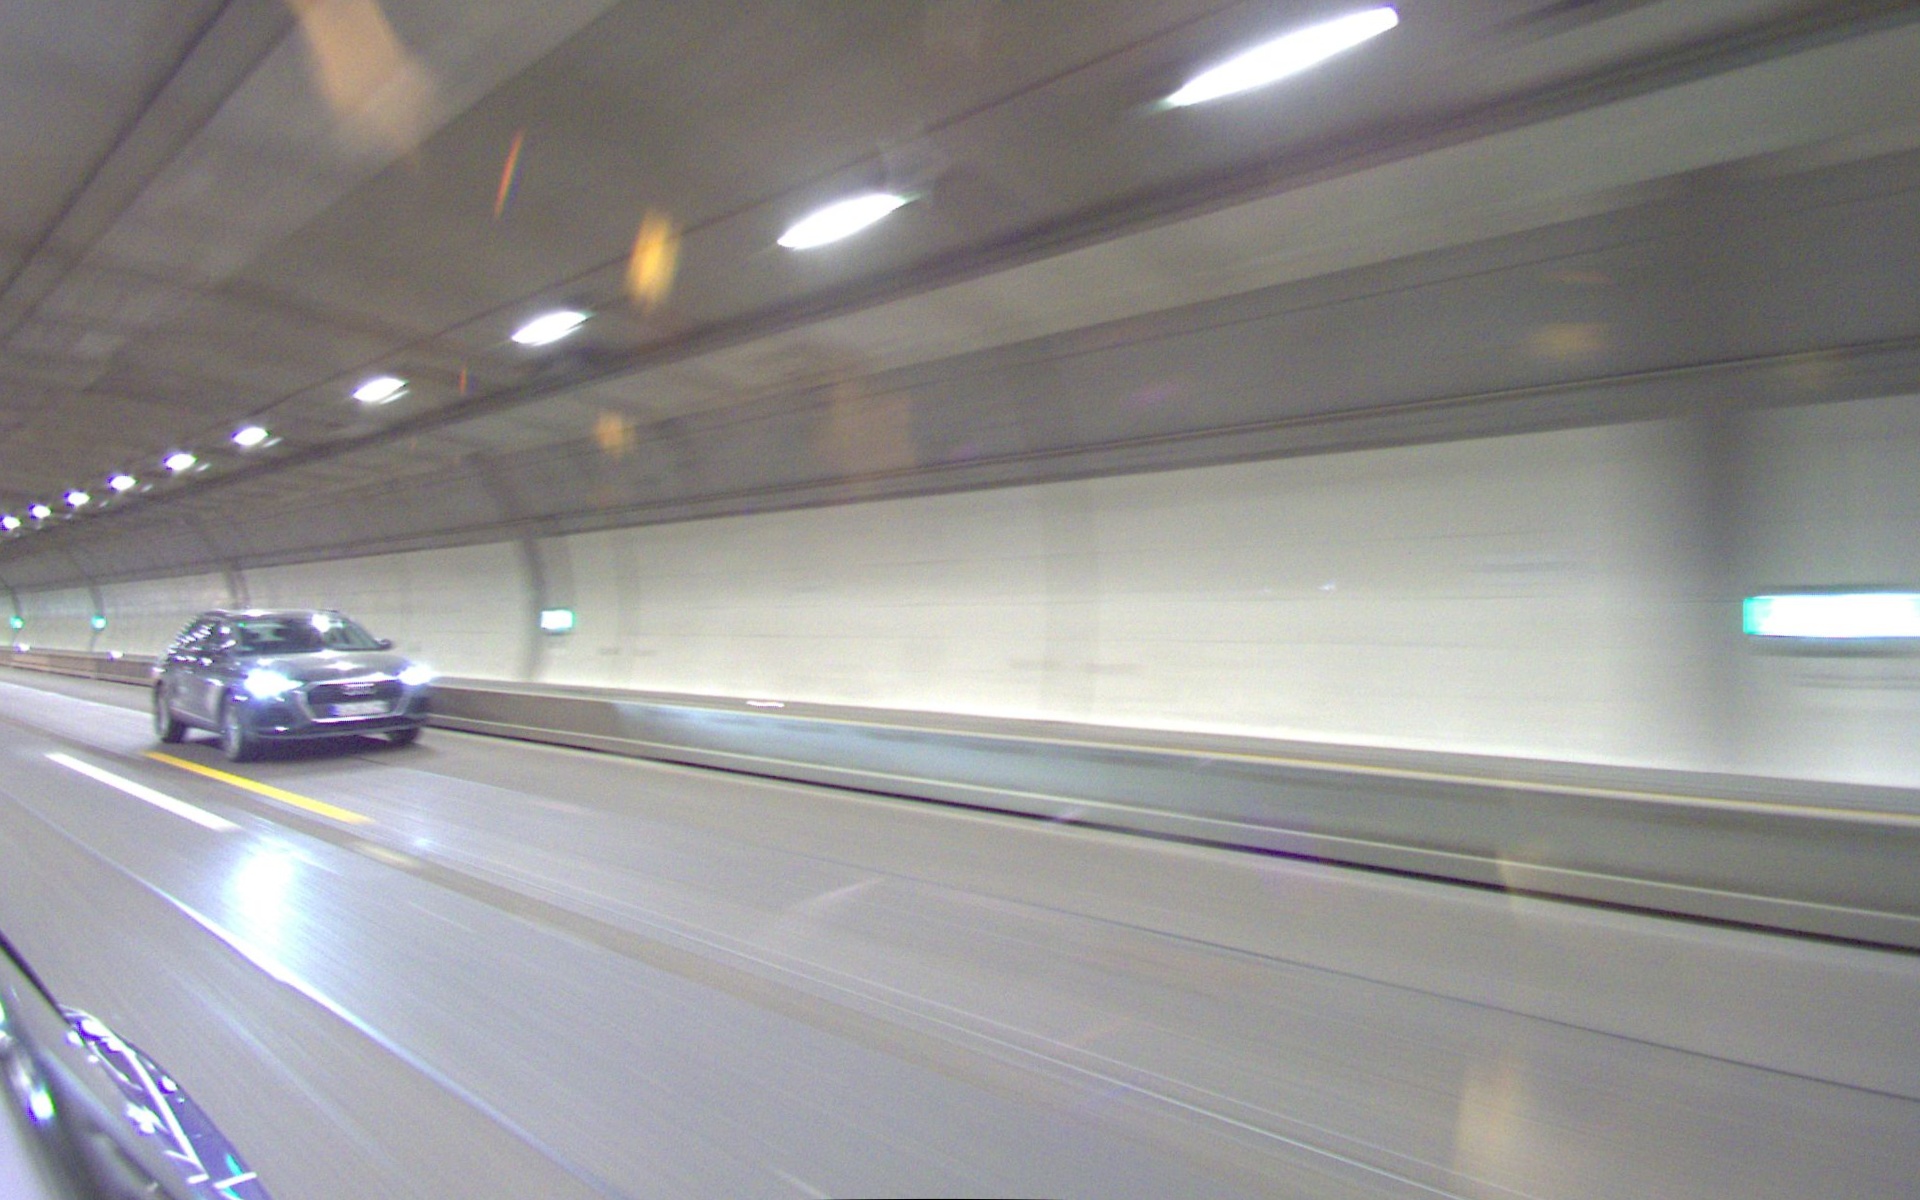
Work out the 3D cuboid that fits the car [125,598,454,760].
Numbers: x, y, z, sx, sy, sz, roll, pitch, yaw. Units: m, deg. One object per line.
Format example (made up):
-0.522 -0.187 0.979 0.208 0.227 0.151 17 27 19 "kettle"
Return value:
-8.042 0.778 11.950 4.738 1.552 1.973 -1 0 40 "car"
